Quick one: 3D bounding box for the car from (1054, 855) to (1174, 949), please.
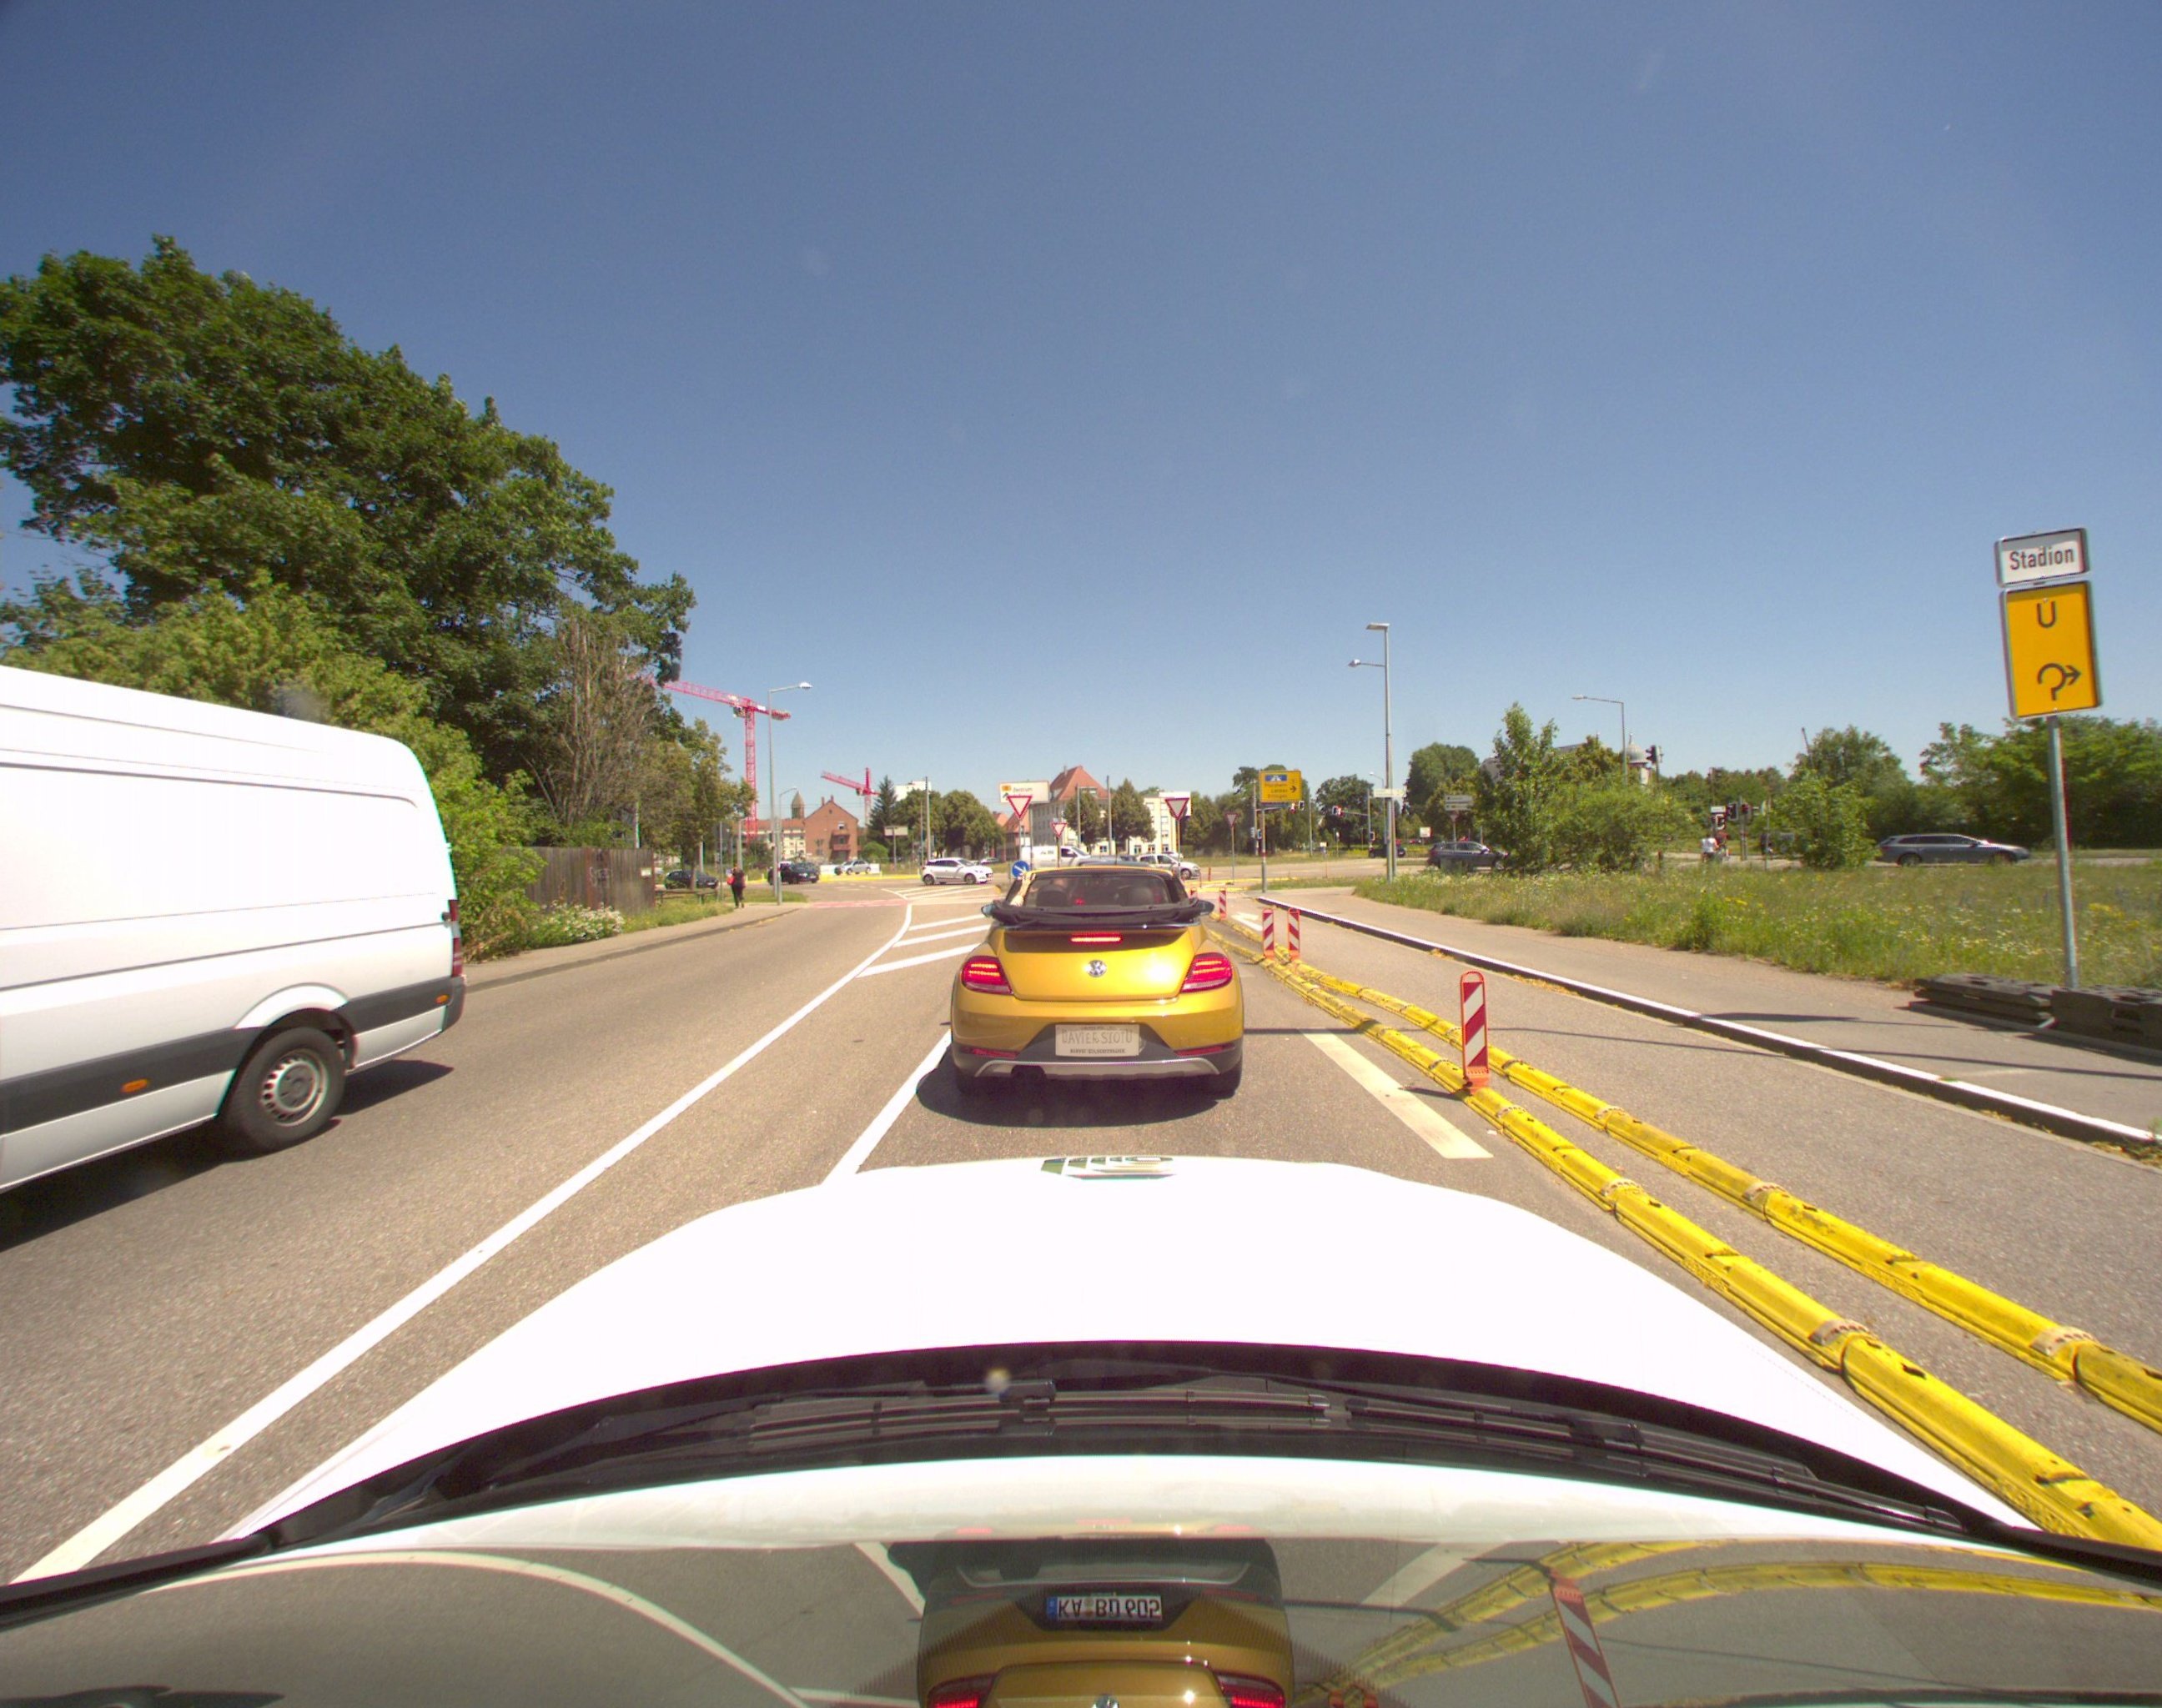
[{"bbox_3d":[0.581,0.757,14.750,1.841,1.442,4.002,-1,0,2],"label":"car"}]

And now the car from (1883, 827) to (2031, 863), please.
[{"bbox_3d":[36.797,-0.356,34.382,4.155,1.391,1.913,-1,0,45],"label":"car"}]

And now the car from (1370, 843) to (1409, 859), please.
[{"bbox_3d":[35.019,-0.272,92.604,1.948,1.672,4.175,-2,0,-18],"label":"car"}]

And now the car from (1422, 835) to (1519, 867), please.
[{"bbox_3d":[20.827,-0.143,43.739,4.398,1.596,2.009,-1,0,17],"label":"car"}]

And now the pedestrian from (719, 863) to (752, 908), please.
[{"bbox_3d":[-12.309,1.105,28.997,0.815,1.563,0.866,0,-1,-43],"label":"pedestrian"}]

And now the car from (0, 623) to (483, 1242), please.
[{"bbox_3d":[-5.410,0.349,2.833,2.017,2.539,6.815,-2,0,-5],"label":"car"}]

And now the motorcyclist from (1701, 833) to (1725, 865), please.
[{"bbox_3d":[25.883,-0.193,33.351,0.616,1.289,0.576,-1,-1,-28],"label":"motorcyclist"}]

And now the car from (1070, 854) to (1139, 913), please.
[{"bbox_3d":[0.653,0.752,22.406,1.730,1.442,4.002,-1,0,2],"label":"car"}]

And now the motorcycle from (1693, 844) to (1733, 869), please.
[{"bbox_3d":[25.863,0.095,33.304,1.712,0.970,0.625,-1,0,-28],"label":"motorcycle"}]

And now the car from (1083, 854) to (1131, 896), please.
[{"bbox_3d":[1.000,0.763,31.362,1.730,1.477,4.002,-1,0,2],"label":"car"}]

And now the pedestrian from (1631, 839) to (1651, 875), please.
[{"bbox_3d":[24.128,0.130,35.115,0.495,1.563,0.514,-1,-1,1],"label":"pedestrian"}]

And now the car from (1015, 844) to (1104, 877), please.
[{"bbox_3d":[-1.276,0.402,49.032,4.935,1.850,2.008,-1,0,14],"label":"car"}]

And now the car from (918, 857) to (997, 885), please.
[{"bbox_3d":[-6.812,0.936,44.975,3.979,1.444,1.639,-1,0,14],"label":"car"}]

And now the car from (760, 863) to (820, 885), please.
[{"bbox_3d":[-20.458,1.400,57.141,4.146,1.442,2.013,-1,0,37],"label":"car"}]

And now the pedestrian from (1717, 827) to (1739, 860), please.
[{"bbox_3d":[36.606,-0.588,46.076,0.647,1.870,0.737,-1,-1,3],"label":"pedestrian"}]

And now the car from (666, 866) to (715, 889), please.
[{"bbox_3d":[-27.125,1.598,56.534,2.011,1.442,4.168,-1,0,-41],"label":"car"}]

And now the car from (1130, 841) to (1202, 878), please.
[{"bbox_3d":[4.496,0.284,42.978,3.645,1.850,1.637,-1,0,8],"label":"car"}]

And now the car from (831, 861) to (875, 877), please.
[{"bbox_3d":[-23.173,1.522,82.991,1.690,1.500,4.247,-1,0,34],"label":"car"}]

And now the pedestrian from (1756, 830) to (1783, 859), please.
[{"bbox_3d":[37.879,-0.521,44.820,0.789,1.563,0.823,-1,0,3],"label":"pedestrian"}]

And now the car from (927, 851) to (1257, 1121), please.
[{"bbox_3d":[0.107,0.715,6.255,1.746,1.422,3.778,-1,0,1],"label":"car"}]

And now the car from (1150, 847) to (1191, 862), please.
[{"bbox_3d":[11.930,0.084,108.292,5.126,1.786,2.034,-3,0,14],"label":"car"}]

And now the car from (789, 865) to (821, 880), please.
[{"bbox_3d":[-25.120,1.691,74.199,1.702,1.236,3.784,-1,0,-1],"label":"car"}]

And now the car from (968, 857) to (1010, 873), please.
[{"bbox_3d":[-11.889,1.415,105.049,4.937,1.786,2.011,-2,0,-23],"label":"car"}]
